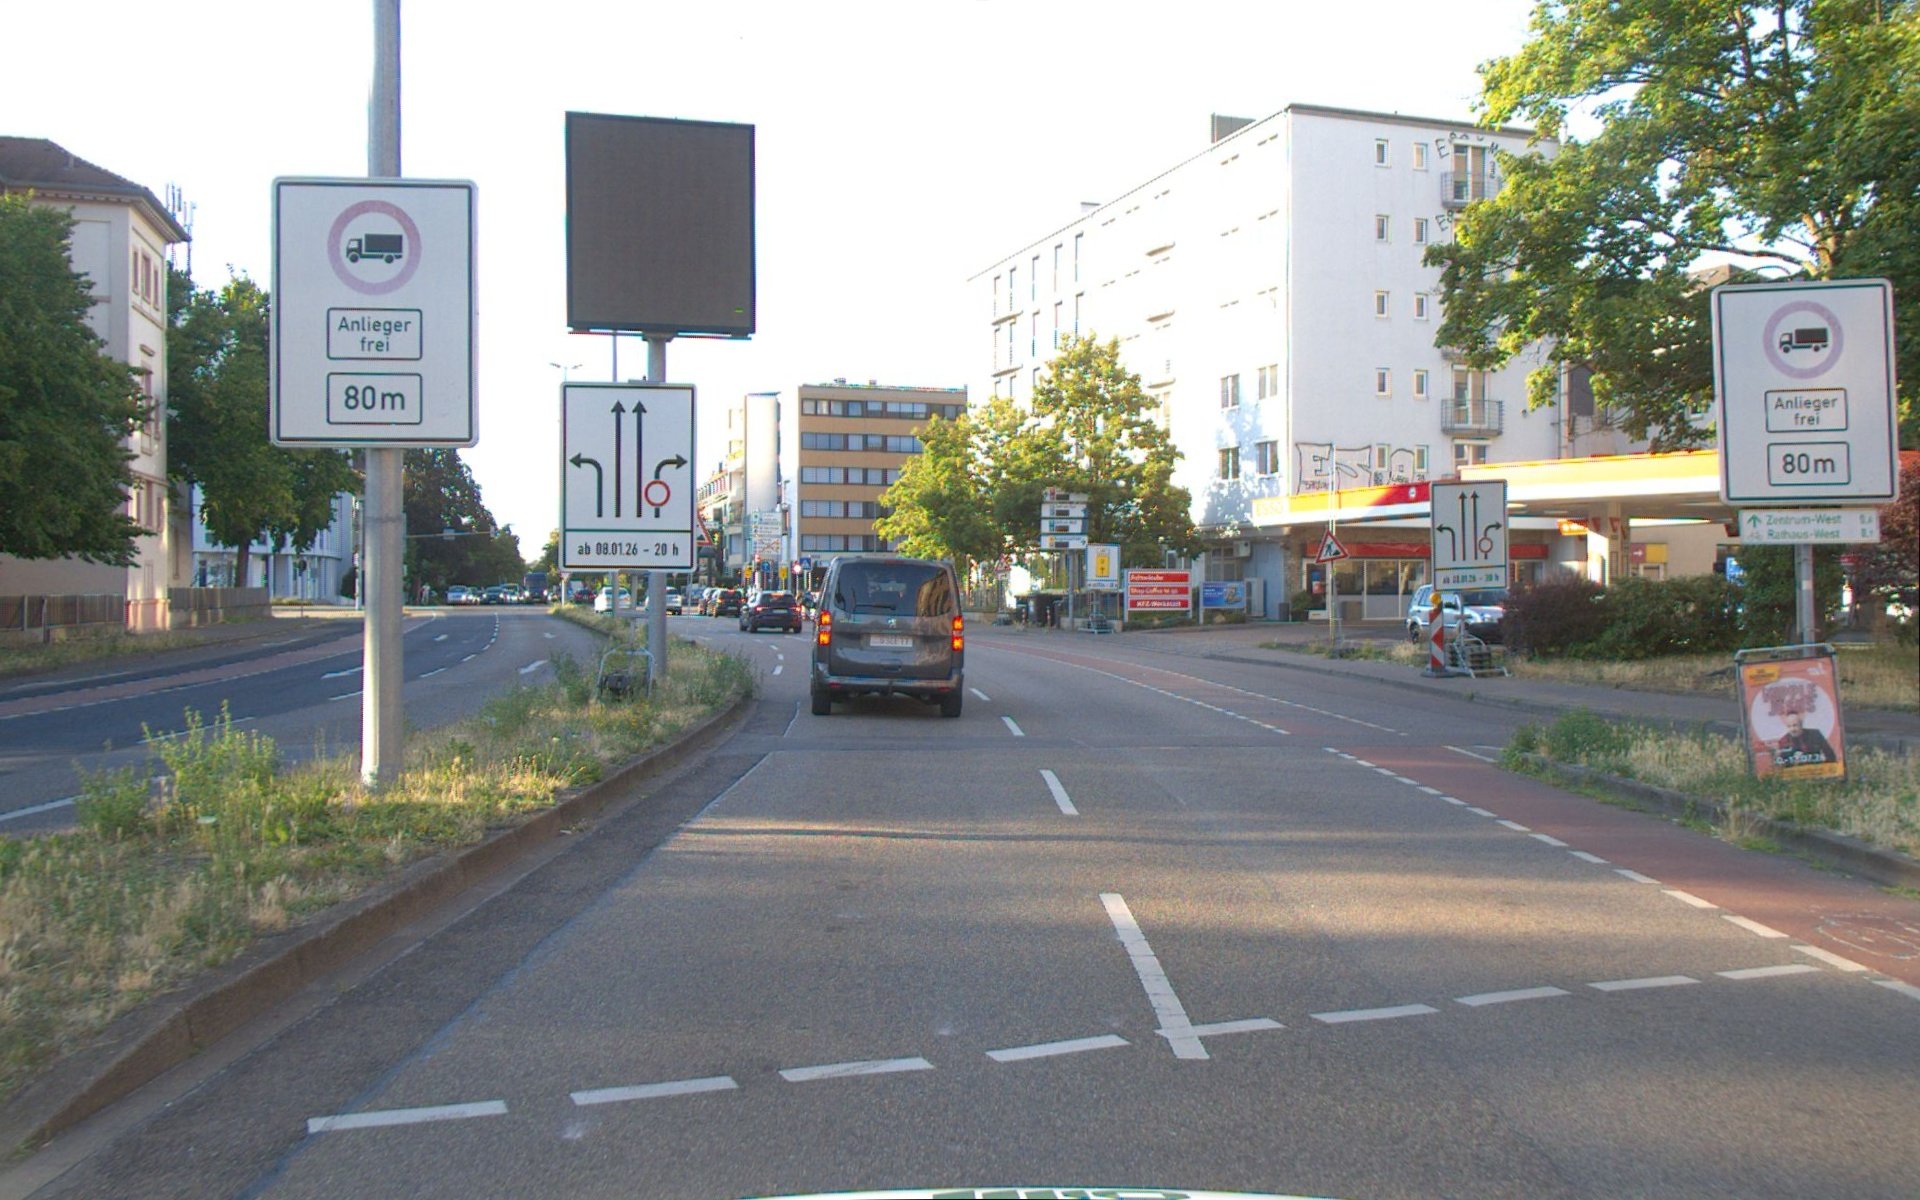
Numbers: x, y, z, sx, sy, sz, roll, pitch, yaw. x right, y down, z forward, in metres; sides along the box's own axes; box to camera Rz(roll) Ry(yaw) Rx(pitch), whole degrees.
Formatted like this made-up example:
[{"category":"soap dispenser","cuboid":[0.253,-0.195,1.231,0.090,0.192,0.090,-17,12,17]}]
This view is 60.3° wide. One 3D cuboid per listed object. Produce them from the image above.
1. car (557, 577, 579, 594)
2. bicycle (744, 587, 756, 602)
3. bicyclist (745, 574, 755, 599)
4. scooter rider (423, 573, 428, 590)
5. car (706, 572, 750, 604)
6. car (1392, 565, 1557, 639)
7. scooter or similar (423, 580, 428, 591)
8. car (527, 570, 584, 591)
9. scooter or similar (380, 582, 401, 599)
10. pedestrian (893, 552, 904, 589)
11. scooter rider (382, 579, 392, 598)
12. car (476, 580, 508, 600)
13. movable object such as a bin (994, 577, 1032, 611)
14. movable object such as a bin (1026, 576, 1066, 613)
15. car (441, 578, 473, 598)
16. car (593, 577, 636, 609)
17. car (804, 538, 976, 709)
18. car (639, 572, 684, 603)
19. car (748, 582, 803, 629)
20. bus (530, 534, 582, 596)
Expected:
[{"category":"car","cuboid":[-41.682,-1.538,175.856,1.821,1.738,3.704,0,1,-19]},{"category":"bicycle","cuboid":[-12.285,-0.309,96.781,0.524,0.862,1.677,0,1,-14]},{"category":"bicyclist","cuboid":[-12.273,-0.779,96.713,0.532,1.485,0.639,0,1,-14]},{"category":"scooter rider","cuboid":[-42.314,-1.453,130.920,0.349,1.397,0.336,0,1,-14]},{"category":"car","cuboid":[-12.543,-0.655,89.244,1.959,1.685,4.284,0,1,-13]},{"category":"car","cuboid":[11.550,0.011,37.444,1.740,1.556,4.341,0,1,-11]},{"category":"scooter or similar","cuboid":[-42.309,-1.156,130.909,0.352,0.911,0.901,0,1,-14]},{"category":"car","cuboid":[-31.082,-1.514,127.073,3.937,1.623,1.984,0,1,-26]},{"category":"scooter or similar","cuboid":[-33.127,-0.560,96.262,1.085,0.993,0.555,1,0,-25]},{"category":"pedestrian","cuboid":[-3.442,-1.630,92.433,0.483,2.049,0.661,0,1,-16]},{"category":"scooter rider","cuboid":[-33.331,-0.675,96.171,0.503,1.054,0.442,1,0,-26]},{"category":"car","cuboid":[-38.586,-0.852,136.377,1.956,1.623,3.993,0,1,-8]},{"category":"movable object such as a bin","cuboid":[2.265,-0.258,70.881,1.435,1.410,1.545,0,1,-7]},{"category":"movable object such as a bin","cuboid":[3.508,-0.244,67.652,1.435,1.479,1.545,0,1,-7]},{"category":"car","cuboid":[-41.175,-0.990,135.457,1.956,1.623,3.993,0,1,-8]},{"category":"car","cuboid":[-19.231,-0.408,92.004,1.962,1.685,4.278,0,1,-17]},{"category":"car","cuboid":[-0.900,0.254,21.341,1.954,1.934,4.297,2,1,-3]},{"category":"car","cuboid":[-16.846,-0.717,93.230,1.962,1.685,4.278,0,1,-17]},{"category":"car","cuboid":[-6.403,0.167,57.147,1.811,1.571,3.625,0,1,-8]},{"category":"bus","cuboid":[-32.194,-2.745,131.655,3.239,4.697,9.950,1,0,-18]}]
